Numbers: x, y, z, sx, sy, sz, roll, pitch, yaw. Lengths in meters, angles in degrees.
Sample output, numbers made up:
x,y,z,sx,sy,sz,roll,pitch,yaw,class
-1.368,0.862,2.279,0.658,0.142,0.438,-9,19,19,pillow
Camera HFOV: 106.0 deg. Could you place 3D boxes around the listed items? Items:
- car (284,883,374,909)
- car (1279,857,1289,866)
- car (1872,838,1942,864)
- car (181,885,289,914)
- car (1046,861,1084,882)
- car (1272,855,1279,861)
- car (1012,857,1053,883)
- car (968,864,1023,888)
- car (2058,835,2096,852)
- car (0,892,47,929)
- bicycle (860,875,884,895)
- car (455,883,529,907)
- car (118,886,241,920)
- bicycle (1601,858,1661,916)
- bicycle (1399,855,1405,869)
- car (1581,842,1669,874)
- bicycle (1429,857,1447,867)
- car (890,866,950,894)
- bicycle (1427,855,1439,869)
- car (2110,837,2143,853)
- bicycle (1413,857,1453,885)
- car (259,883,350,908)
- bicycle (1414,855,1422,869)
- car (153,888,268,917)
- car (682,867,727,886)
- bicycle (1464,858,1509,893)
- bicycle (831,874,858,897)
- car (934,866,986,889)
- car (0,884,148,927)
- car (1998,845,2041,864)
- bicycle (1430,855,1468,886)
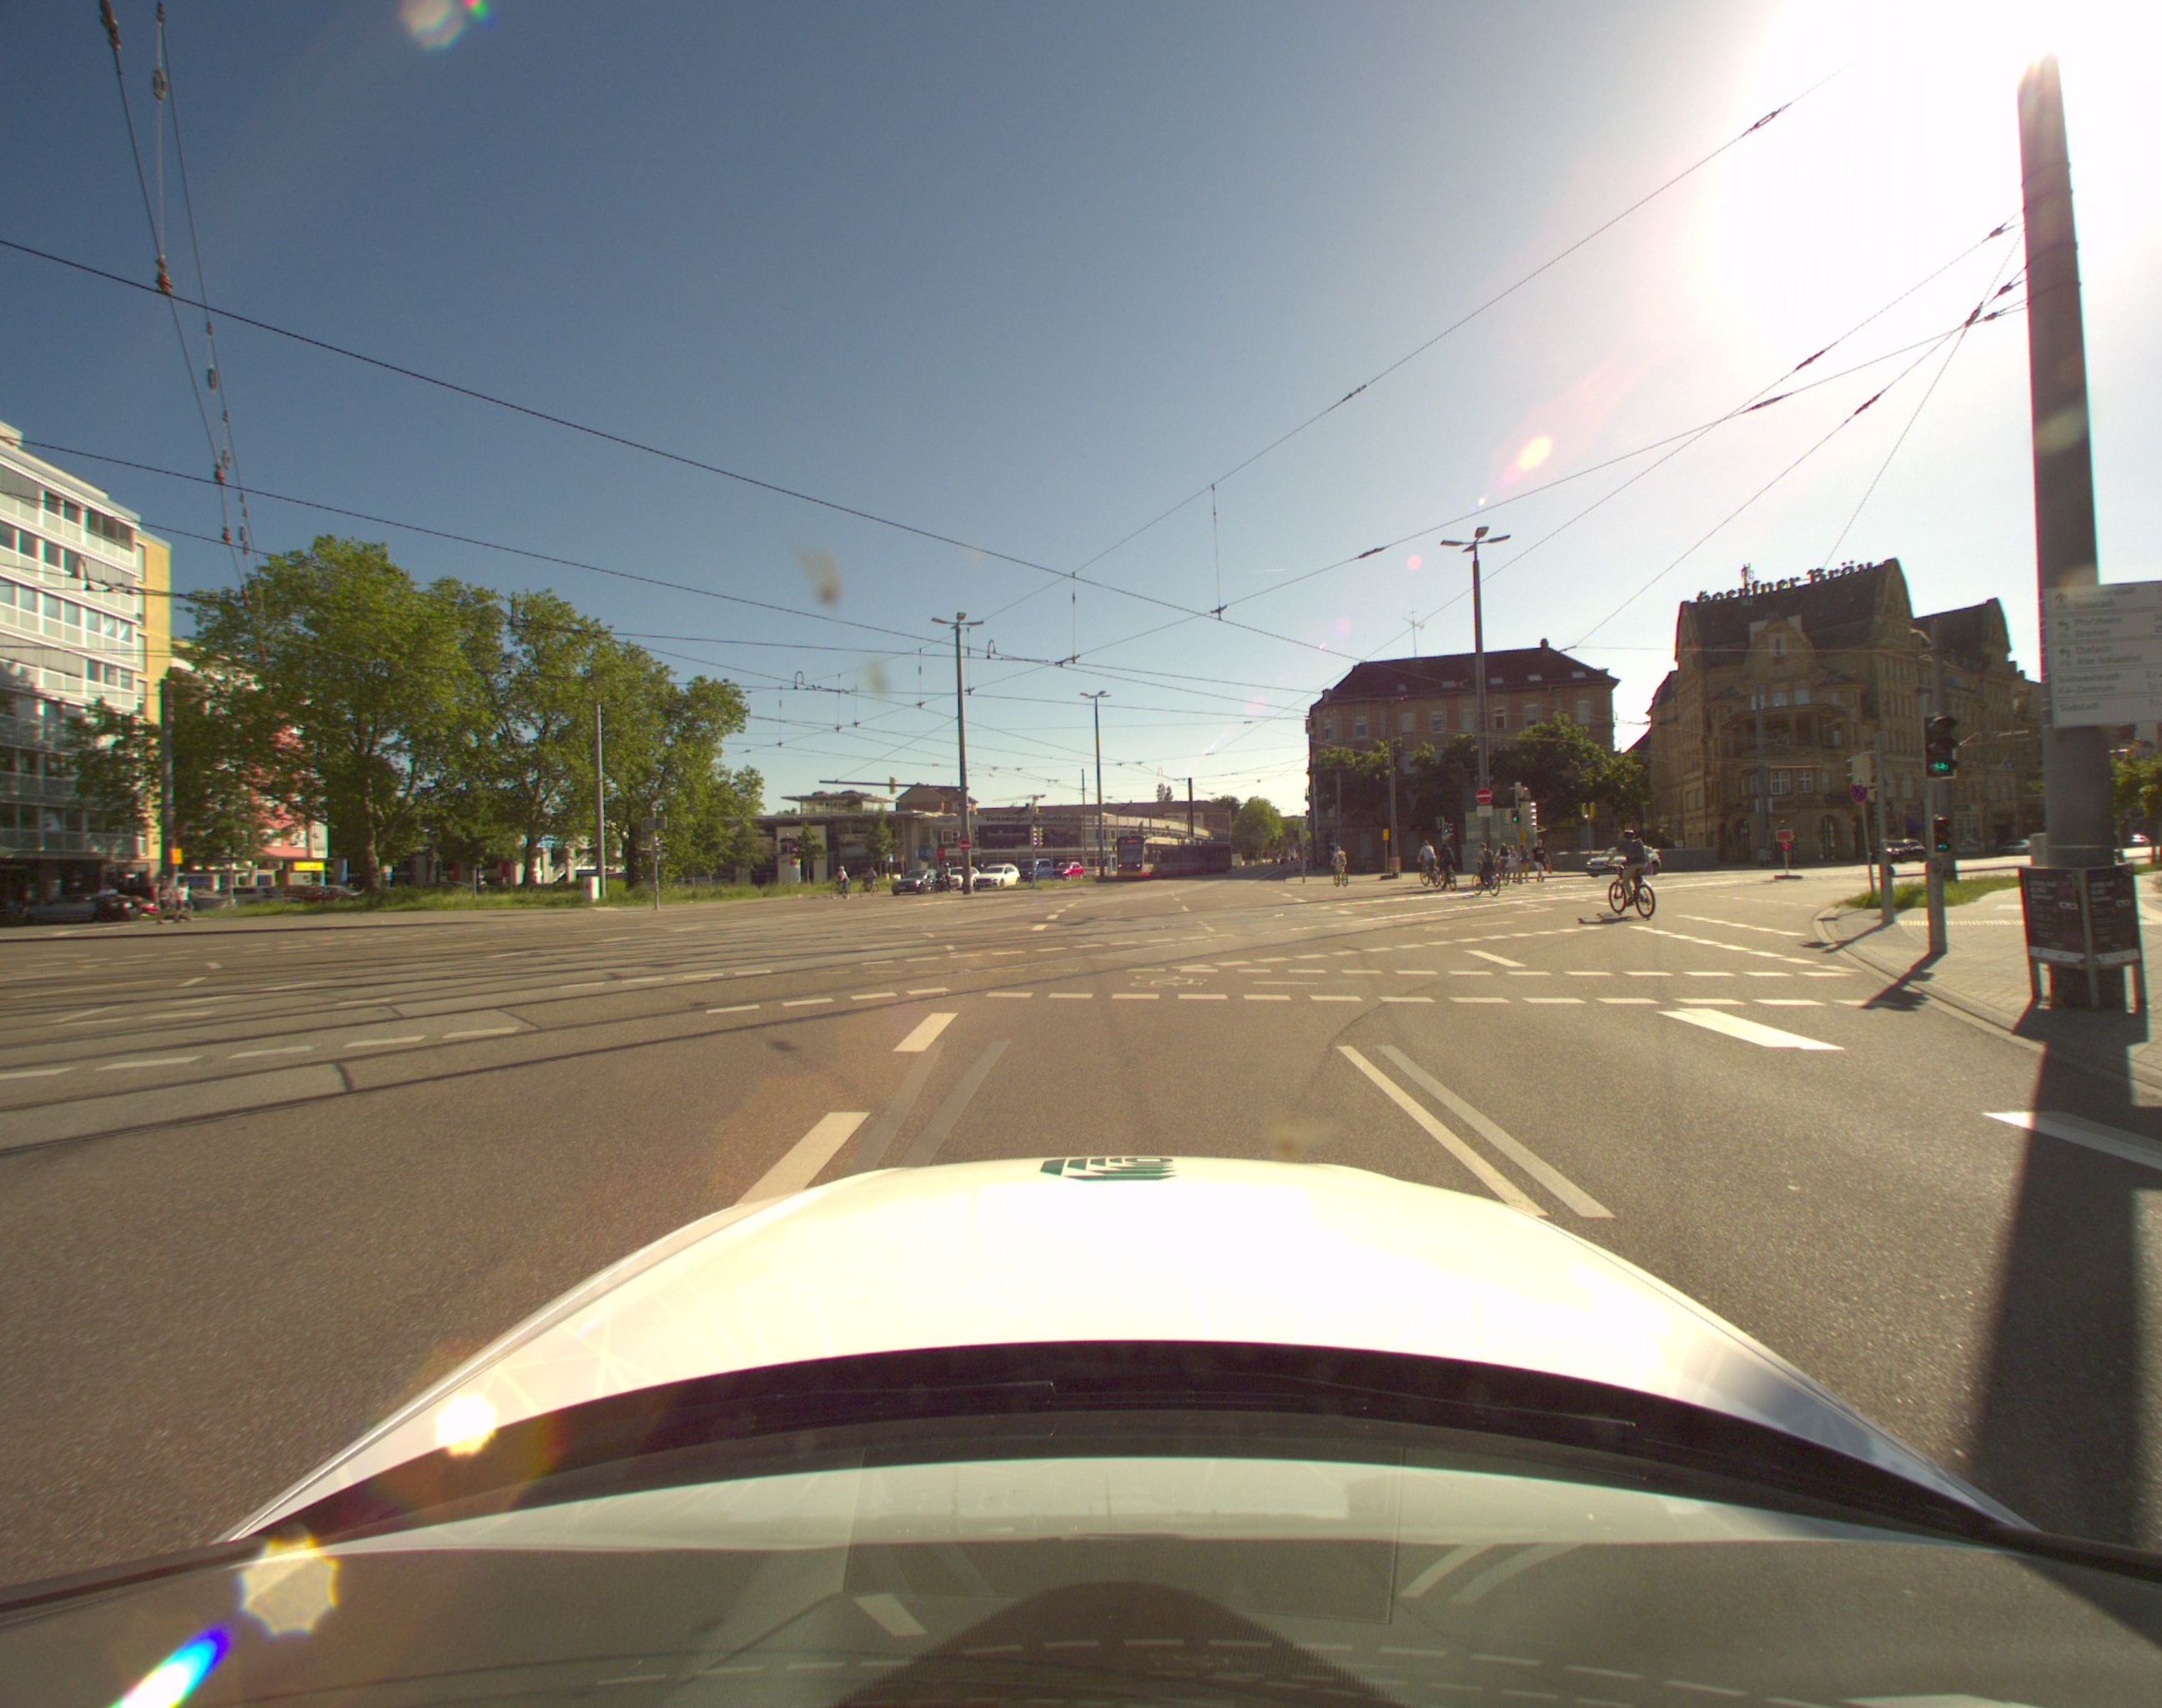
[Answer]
x,y,z,sx,sy,sz,roll,pitch,yaw,class
-50.257,2.780,54.524,4.004,1.499,1.932,-1,0,-23,car
46.086,1.713,185.016,1.978,2.014,4.017,0,-1,16,car
57.497,-0.207,56.690,4.255,1.687,1.904,-1,-2,-23,car
-51.004,2.699,49.198,4.004,1.499,1.985,-1,0,-23,car
-1.374,1.502,71.829,1.784,1.719,4.439,-3,-2,21,car
57.402,1.124,240.184,1.745,1.697,4.161,0,-1,17,car
-3.810,1.283,64.742,1.788,1.933,4.184,-3,-2,18,car
-5.277,1.326,50.723,1.789,1.432,4.560,0,-1,16,car
105.658,-1.119,86.392,4.025,1.621,1.738,-1,-2,-28,car
-48.083,2.501,35.149,3.994,1.499,1.734,-2,0,-16,car
-11.820,1.746,46.069,0.534,1.074,1.662,-2,0,16,bicycle
-42.847,2.988,59.345,3.840,1.631,1.996,-1,-2,-6,car
-49.181,2.635,44.559,4.003,1.565,1.985,-1,0,-22,car
11.917,0.680,17.699,0.527,1.158,1.874,0,1,16,bicycle
25.280,0.646,64.187,0.400,1.061,1.490,0,-1,21,bicycle
29.794,0.202,44.606,4.255,1.621,1.904,-1,-2,-23,car
30.443,0.663,69.475,1.405,0.856,0.406,0,-1,22,bicycle
-9.172,1.461,46.640,1.637,1.479,3.988,-3,-1,16,car
27.486,0.627,63.618,0.402,1.061,1.352,0,-1,1,bicycle
128.449,-1.092,100.046,4.026,1.621,1.738,-5,0,-28,car
14.181,0.663,32.859,0.386,1.069,1.925,-2,0,-12,bicycle
-53.108,2.801,55.806,4.004,1.499,1.985,-1,0,-23,car
26.441,0.648,63.948,0.400,1.061,1.358,0,-1,16,bicycle
-50.235,2.761,47.108,4.003,1.389,1.985,-1,0,-22,car
-41.112,2.457,88.989,3.980,2.014,1.997,0,-1,-5,car
13.112,0.688,26.374,0.530,1.117,1.934,0,-1,1,bicycle
-12.950,1.726,44.645,0.534,1.184,1.761,-2,0,16,bicycle
-7.764,1.512,52.747,1.789,1.432,4.017,0,-1,16,car
-48.756,2.463,39.545,4.004,1.807,1.985,-1,0,-23,car
88.163,0.044,76.490,4.025,1.621,1.738,-1,-2,-28,car
13.561,0.622,30.049,0.529,1.117,1.934,-2,-2,2,bicycle
